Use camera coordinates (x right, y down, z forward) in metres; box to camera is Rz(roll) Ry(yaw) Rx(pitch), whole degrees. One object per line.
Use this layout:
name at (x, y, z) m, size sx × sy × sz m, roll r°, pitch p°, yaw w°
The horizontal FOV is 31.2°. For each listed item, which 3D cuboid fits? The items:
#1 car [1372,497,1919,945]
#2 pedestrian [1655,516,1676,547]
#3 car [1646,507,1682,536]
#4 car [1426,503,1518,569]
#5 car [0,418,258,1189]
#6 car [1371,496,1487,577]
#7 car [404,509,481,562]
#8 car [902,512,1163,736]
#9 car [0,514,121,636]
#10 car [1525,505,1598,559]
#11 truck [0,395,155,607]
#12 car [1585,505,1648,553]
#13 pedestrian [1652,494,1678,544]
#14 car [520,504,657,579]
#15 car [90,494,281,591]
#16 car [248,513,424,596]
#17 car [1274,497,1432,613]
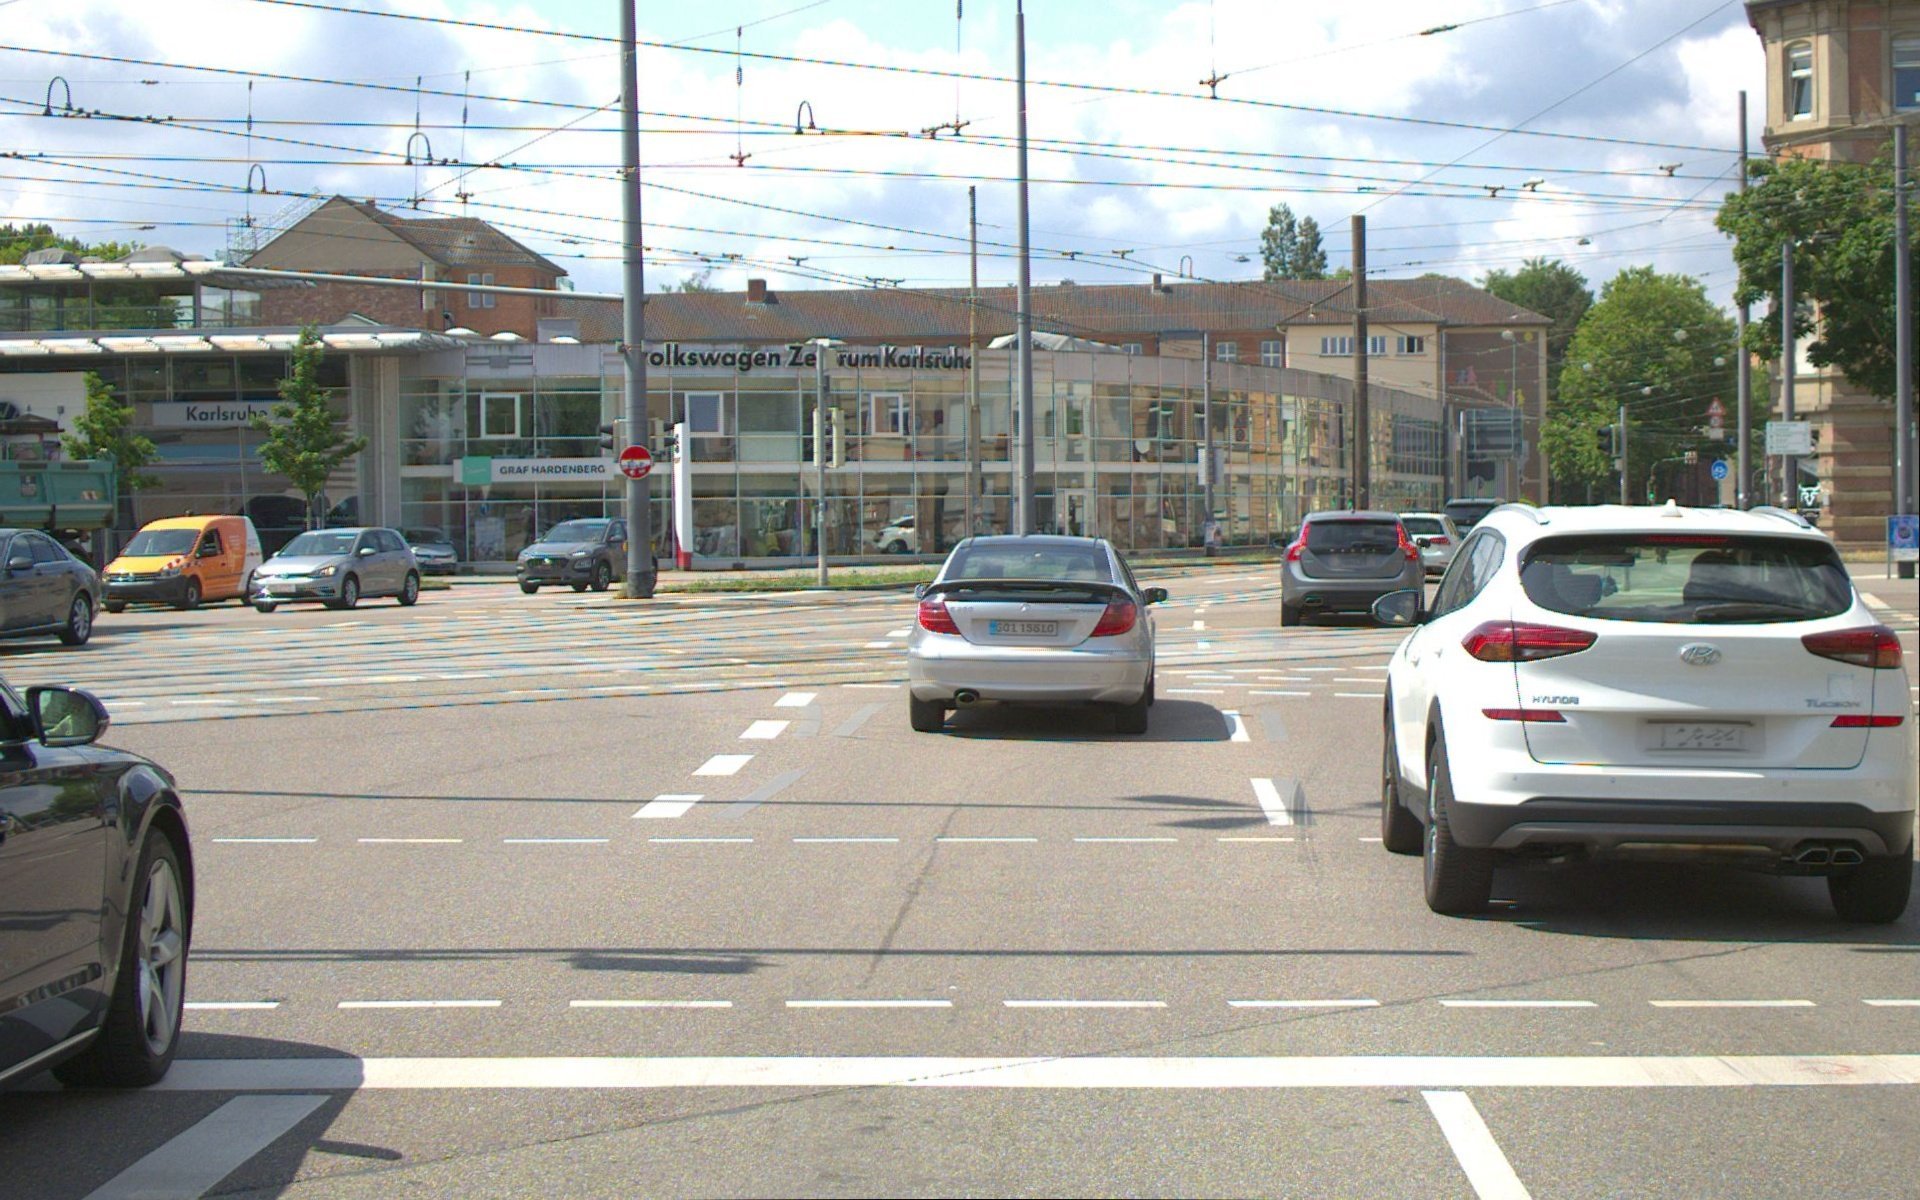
car at (2.842, 0.388, 14.691) m, size 1.881 × 1.635 × 4.232 m, roll 0°, pitch 2°, yaw 3°
pedestrian at (21.093, -2.037, 102.750) m, size 0.525 × 0.903 × 1.560 m, roll 0°, pitch 0°, yaw 14°
car at (41.678, -4.657, 203.491) m, size 1.882 × 1.687 × 3.954 m, roll 0°, pitch 2°, yaw 15°
car at (13.023, -1.635, 87.270) m, size 1.882 × 1.635 × 3.954 m, roll 0°, pitch 2°, yaw 15°
car at (-3.005, 0.435, 7.351) m, size 1.928 × 1.635 × 4.792 m, roll 0°, pitch 2°, yaw 1°
car at (9.881, -1.350, 72.259) m, size 1.882 × 1.635 × 3.954 m, roll 0°, pitch 2°, yaw 16°
car at (-16.110, -2.005, 107.205) m, size 1.993 × 1.568 × 4.000 m, roll 0°, pitch 0°, yaw -3°
car at (0.613, 0.111, 25.535) m, size 1.741 × 1.387 × 4.180 m, roll 1°, pitch 3°, yaw 4°
car at (-11.571, -0.307, 40.411) m, size 1.654 × 1.387 × 4.774 m, roll 0°, pitch 1°, yaw 8°
car at (18.829, -2.146, 107.485) m, size 1.882 × 1.635 × 3.954 m, roll 0°, pitch 2°, yaw 15°
truck at (-14.184, -1.345, 47.130) m, size 2.886 × 2.842 × 8.789 m, roll 0°, pitch 1°, yaw 10°
car at (23.163, -2.507, 121.195) m, size 1.882 × 1.635 × 3.954 m, roll 0°, pitch 2°, yaw 15°
pedestrian at (21.089, -2.422, 102.818) m, size 0.693 × 1.452 × 0.679 m, roll 0°, pitch 0°, yaw 15°
car at (-7.784, -1.253, 72.325) m, size 1.719 × 1.526 × 4.119 m, roll 0°, pitch 1°, yaw 11°
car at (-14.998, -1.137, 66.811) m, size 1.719 × 1.794 × 4.738 m, roll -1°, pitch 1°, yaw 13°
car at (-11.098, -0.838, 61.439) m, size 1.654 × 1.429 × 4.270 m, roll 0°, pitch 1°, yaw 11°
car at (5.088, -0.600, 44.138) m, size 1.882 × 1.414 × 3.956 m, roll 0°, pitch 2°, yaw 9°
